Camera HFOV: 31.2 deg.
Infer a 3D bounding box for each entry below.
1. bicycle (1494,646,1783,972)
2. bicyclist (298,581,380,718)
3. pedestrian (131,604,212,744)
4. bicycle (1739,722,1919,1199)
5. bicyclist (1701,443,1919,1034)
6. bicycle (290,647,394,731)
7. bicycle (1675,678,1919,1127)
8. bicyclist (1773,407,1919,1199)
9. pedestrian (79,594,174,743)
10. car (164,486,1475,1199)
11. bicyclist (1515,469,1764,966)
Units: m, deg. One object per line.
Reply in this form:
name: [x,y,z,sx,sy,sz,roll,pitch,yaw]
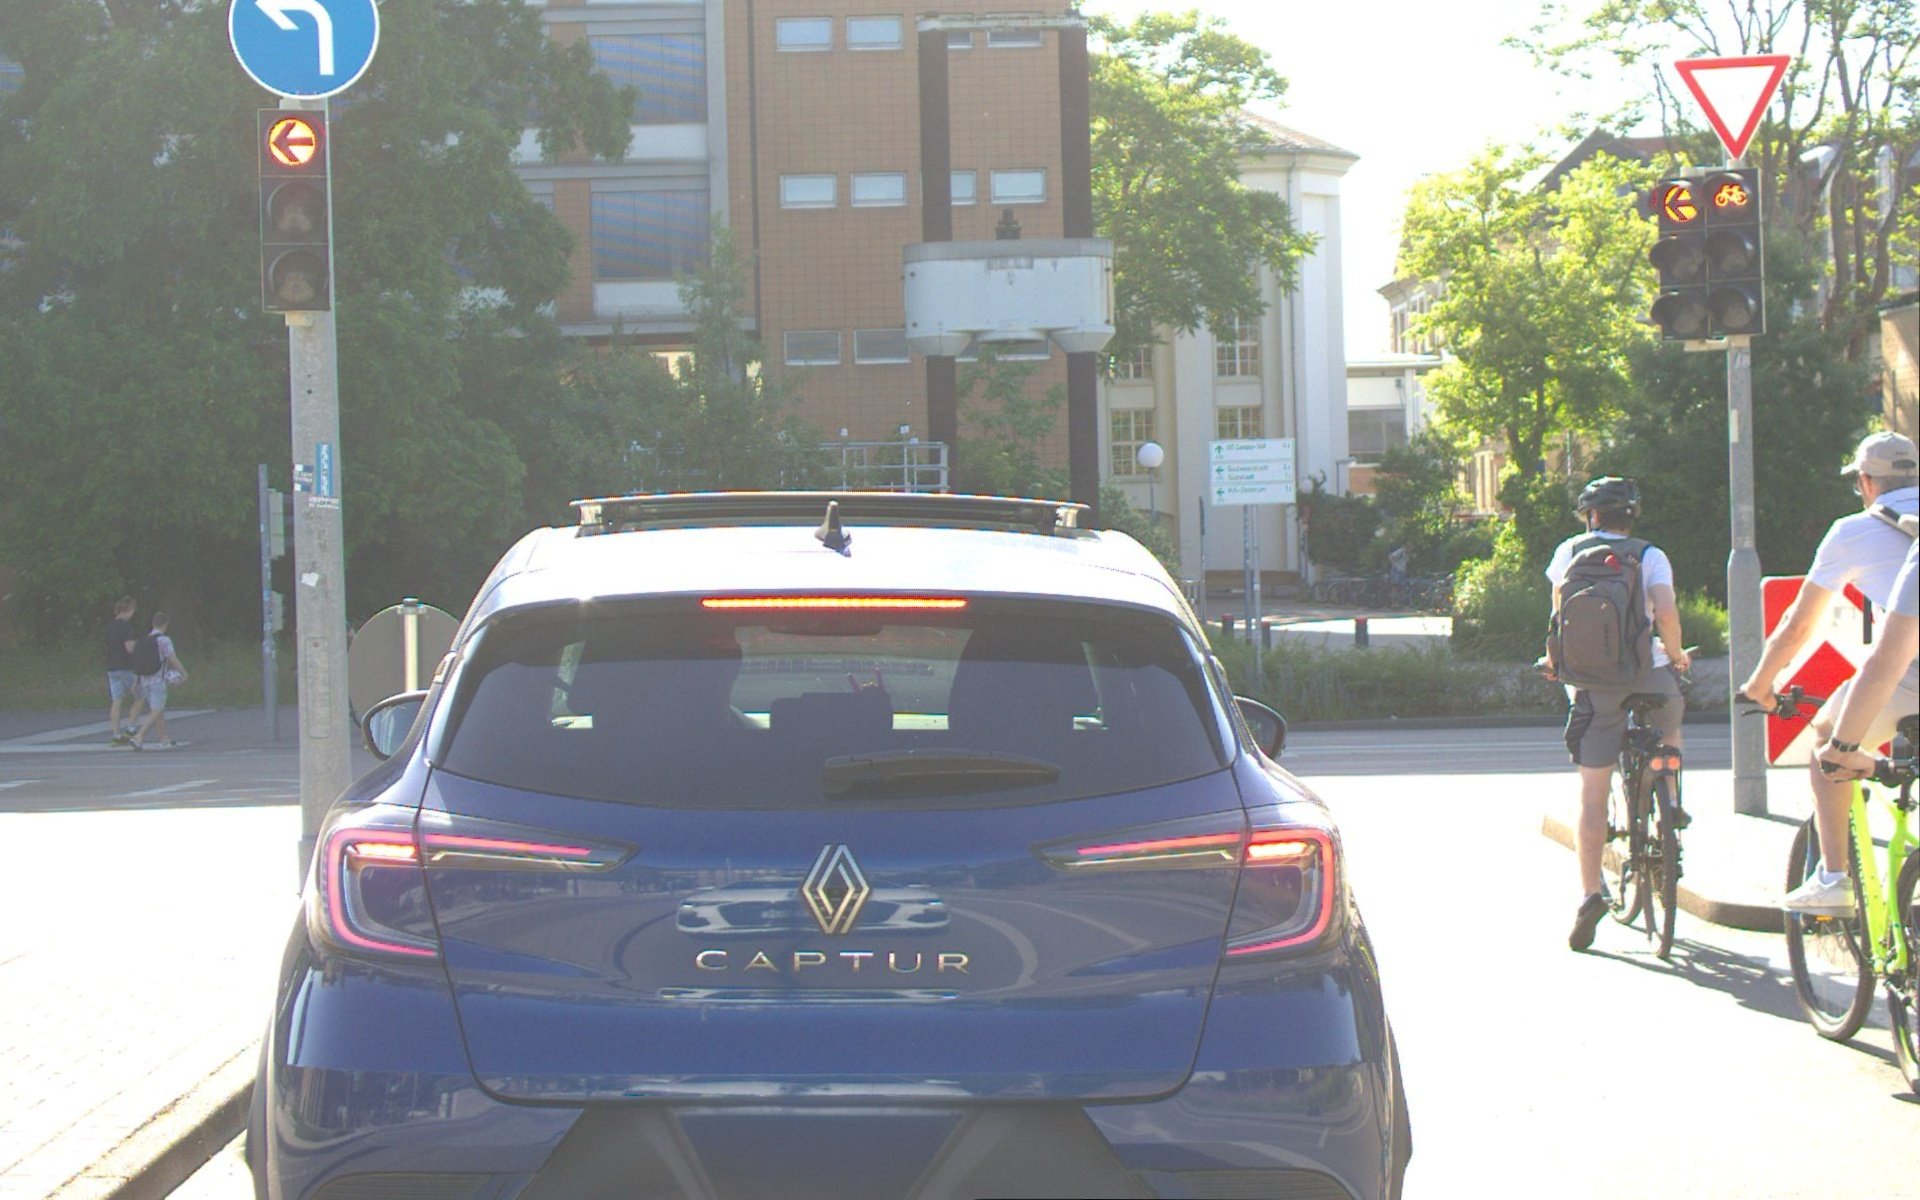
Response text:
bicycle: [2.516,0.743,12.953,0.689,1.085,1.922,0,1,-1]
bicyclist: [-7.903,0.621,43.803,0.755,1.710,0.998,-1,1,5]
pedestrian: [-9.868,0.921,43.027,0.681,1.724,0.760,-1,1,13]
bicycle: [2.227,0.847,7.296,0.689,1.085,1.922,0,1,-1]
bicyclist: [2.585,0.366,9.816,0.678,1.589,1.142,0,1,-1]
bicycle: [-7.882,1.123,43.913,0.755,0.981,2.093,-1,1,5]
bicycle: [2.594,0.801,9.804,0.689,1.085,1.922,0,1,-1]
bicyclist: [2.220,0.505,7.344,0.683,1.785,1.142,0,1,-1]
pedestrian: [-10.570,0.862,43.612,0.814,1.856,0.909,-1,1,13]
car: [-0.269,0.611,6.656,1.788,1.580,3.915,0,1,-2]
bicyclist: [2.532,0.415,12.915,0.699,1.785,1.142,0,1,-1]
